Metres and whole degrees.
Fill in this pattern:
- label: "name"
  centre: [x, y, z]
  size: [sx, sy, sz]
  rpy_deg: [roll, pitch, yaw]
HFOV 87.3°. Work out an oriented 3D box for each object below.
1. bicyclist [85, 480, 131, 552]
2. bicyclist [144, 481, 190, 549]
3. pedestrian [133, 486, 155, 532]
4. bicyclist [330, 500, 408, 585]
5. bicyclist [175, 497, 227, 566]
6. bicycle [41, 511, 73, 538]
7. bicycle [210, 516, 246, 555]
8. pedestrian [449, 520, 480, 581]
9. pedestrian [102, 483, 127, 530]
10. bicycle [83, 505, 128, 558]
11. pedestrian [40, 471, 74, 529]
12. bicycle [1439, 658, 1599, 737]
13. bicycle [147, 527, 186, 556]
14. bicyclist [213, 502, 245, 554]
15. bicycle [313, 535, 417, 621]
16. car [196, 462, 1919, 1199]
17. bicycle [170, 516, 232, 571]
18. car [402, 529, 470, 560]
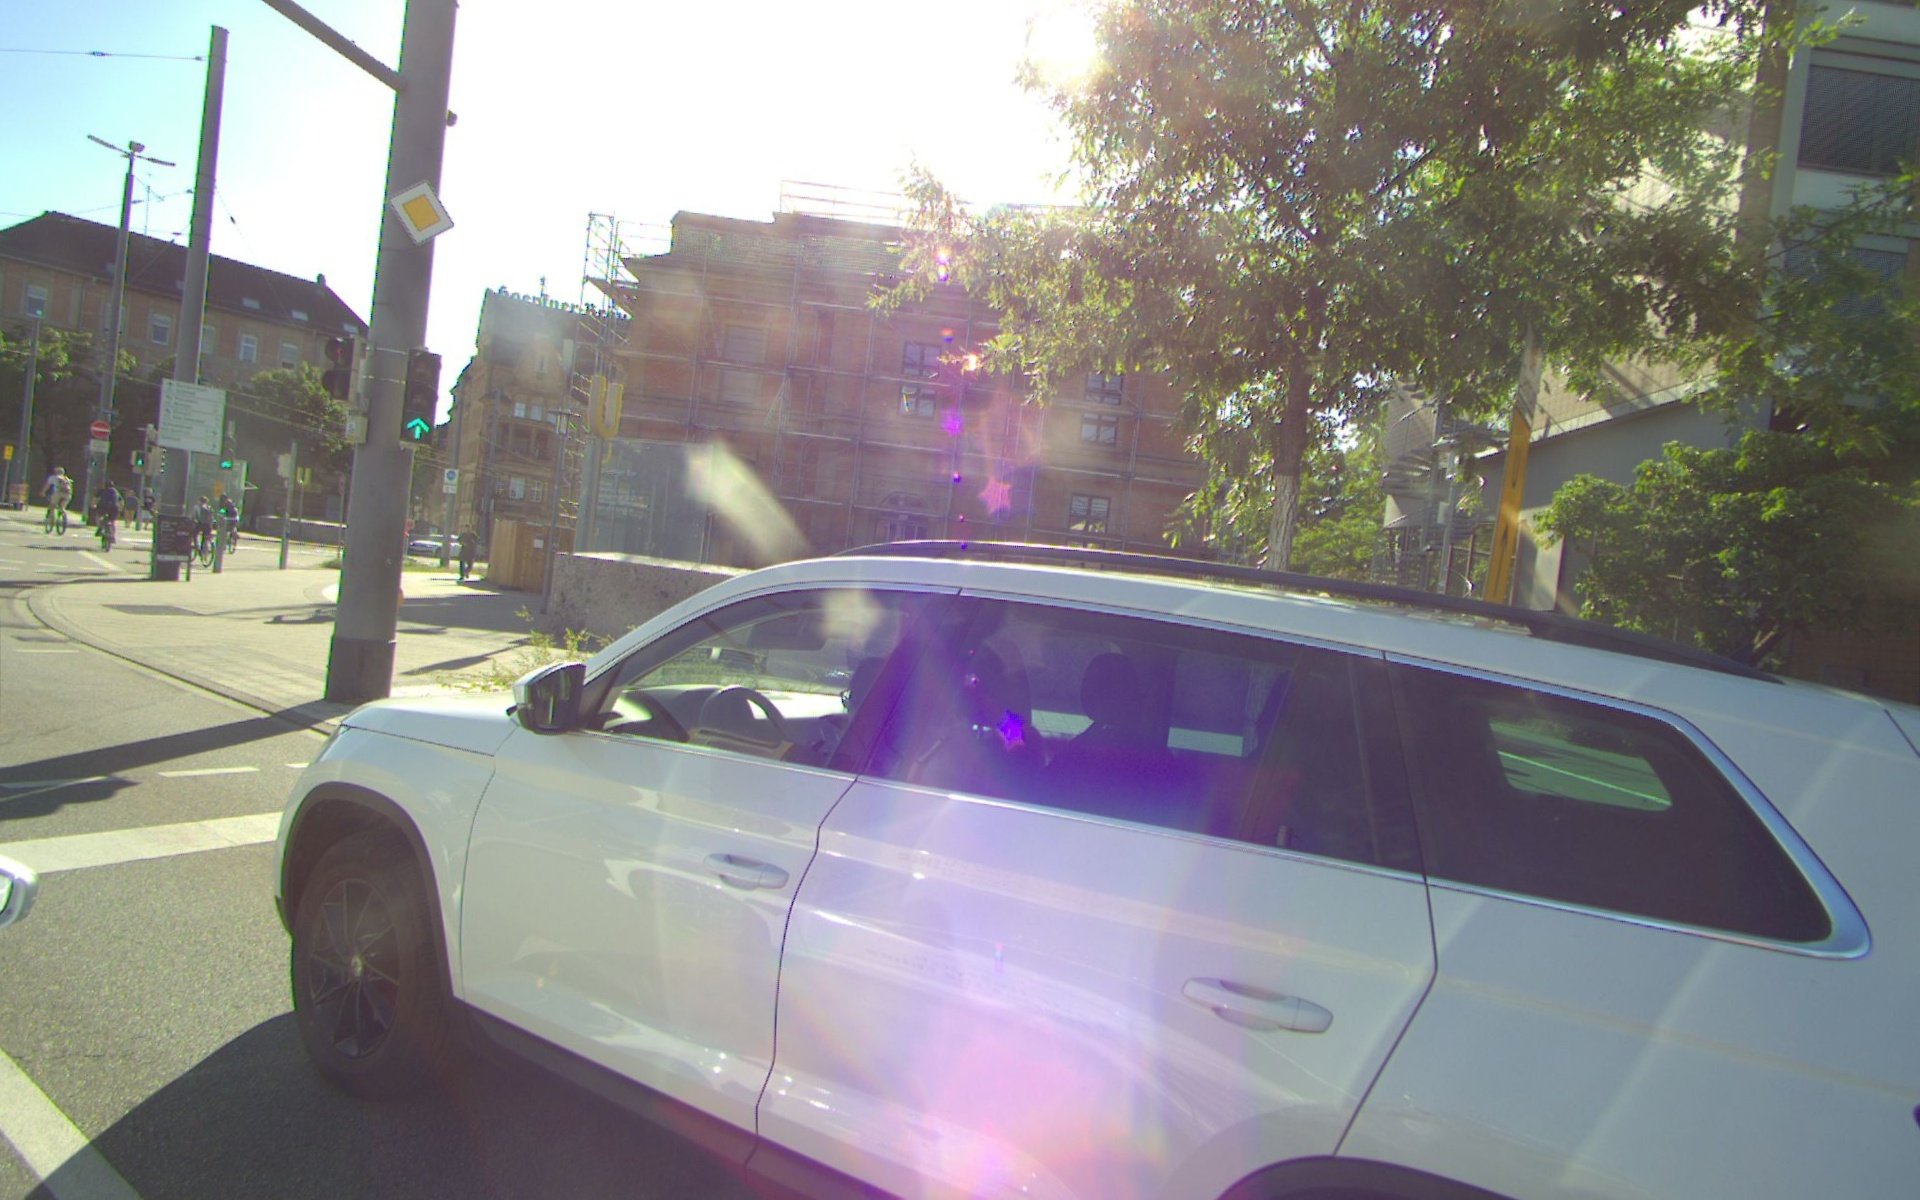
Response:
- label: "bicyclist"
  centre: [-21.462, -2.124, 25.335]
  size: [0.624, 1.656, 0.982]
  rpy_deg: [10, 0, -45]
- label: "bicyclist"
  centre: [-22.702, -2.435, 28.803]
  size: [0.910, 1.802, 0.746]
  rpy_deg: [8, 2, 39]
- label: "pedestrian"
  centre: [-37.062, -4.130, 45.680]
  size: [0.443, 2.039, 0.462]
  rpy_deg: [7, 2, 14]
- label: "bicyclist"
  centre: [-9.883, -0.958, 16.832]
  size: [0.892, 1.296, 0.720]
  rpy_deg: [7, 3, 32]
- label: "bicyclist"
  centre: [-19.246, -1.728, 25.506]
  size: [0.962, 1.619, 0.685]
  rpy_deg: [7, 1, 37]
- label: "bicycle"
  centre: [-25.930, -2.186, 28.911]
  size: [0.534, 0.664, 1.706]
  rpy_deg: [6, 1, -39]
- label: "bicycle"
  centre: [-23.669, -2.093, 32.514]
  size: [1.717, 1.139, 0.570]
  rpy_deg: [7, 1, 44]
- label: "pedestrian"
  centre: [-16.141, -1.609, 32.779]
  size: [0.692, 1.904, 0.716]
  rpy_deg: [6, 1, -25]
- label: "pedestrian"
  centre: [-38.357, -4.229, 45.644]
  size: [0.443, 2.039, 0.574]
  rpy_deg: [7, 1, 14]
- label: "bicycle"
  centre: [-21.573, -1.744, 25.388]
  size: [0.624, 1.127, 1.827]
  rpy_deg: [10, -1, -44]
- label: "pedestrian"
  centre: [-25.904, -2.857, 28.870]
  size: [0.545, 1.582, 0.849]
  rpy_deg: [6, 1, -38]
- label: "bicycle"
  centre: [13.117, 2.262, 23.689]
  size: [3.079, 1.395, 0.798]
  rpy_deg: [7, 1, 8]
- label: "bicycle"
  centre: [-22.668, -1.678, 28.738]
  size: [1.446, 0.664, 0.536]
  rpy_deg: [7, 2, 39]
- label: "bicyclist"
  centre: [-23.619, -2.328, 32.483]
  size: [0.934, 1.588, 0.570]
  rpy_deg: [7, 2, 44]
- label: "bicycle"
  centre: [-9.980, -0.371, 16.847]
  size: [1.804, 1.234, 0.690]
  rpy_deg: [7, 3, 32]
- label: "car"
  centre: [0.019, 0.691, 2.680]
  size: [4.224, 1.662, 1.697]
  rpy_deg: [7, 0, 30]
- label: "bicycle"
  centre: [-19.237, -1.440, 25.475]
  size: [1.854, 1.178, 0.685]
  rpy_deg: [7, 1, 37]
- label: "car"
  centre: [-34.921, -3.681, 67.218]
  size: [1.766, 1.583, 4.326]
  rpy_deg: [7, 0, 7]
